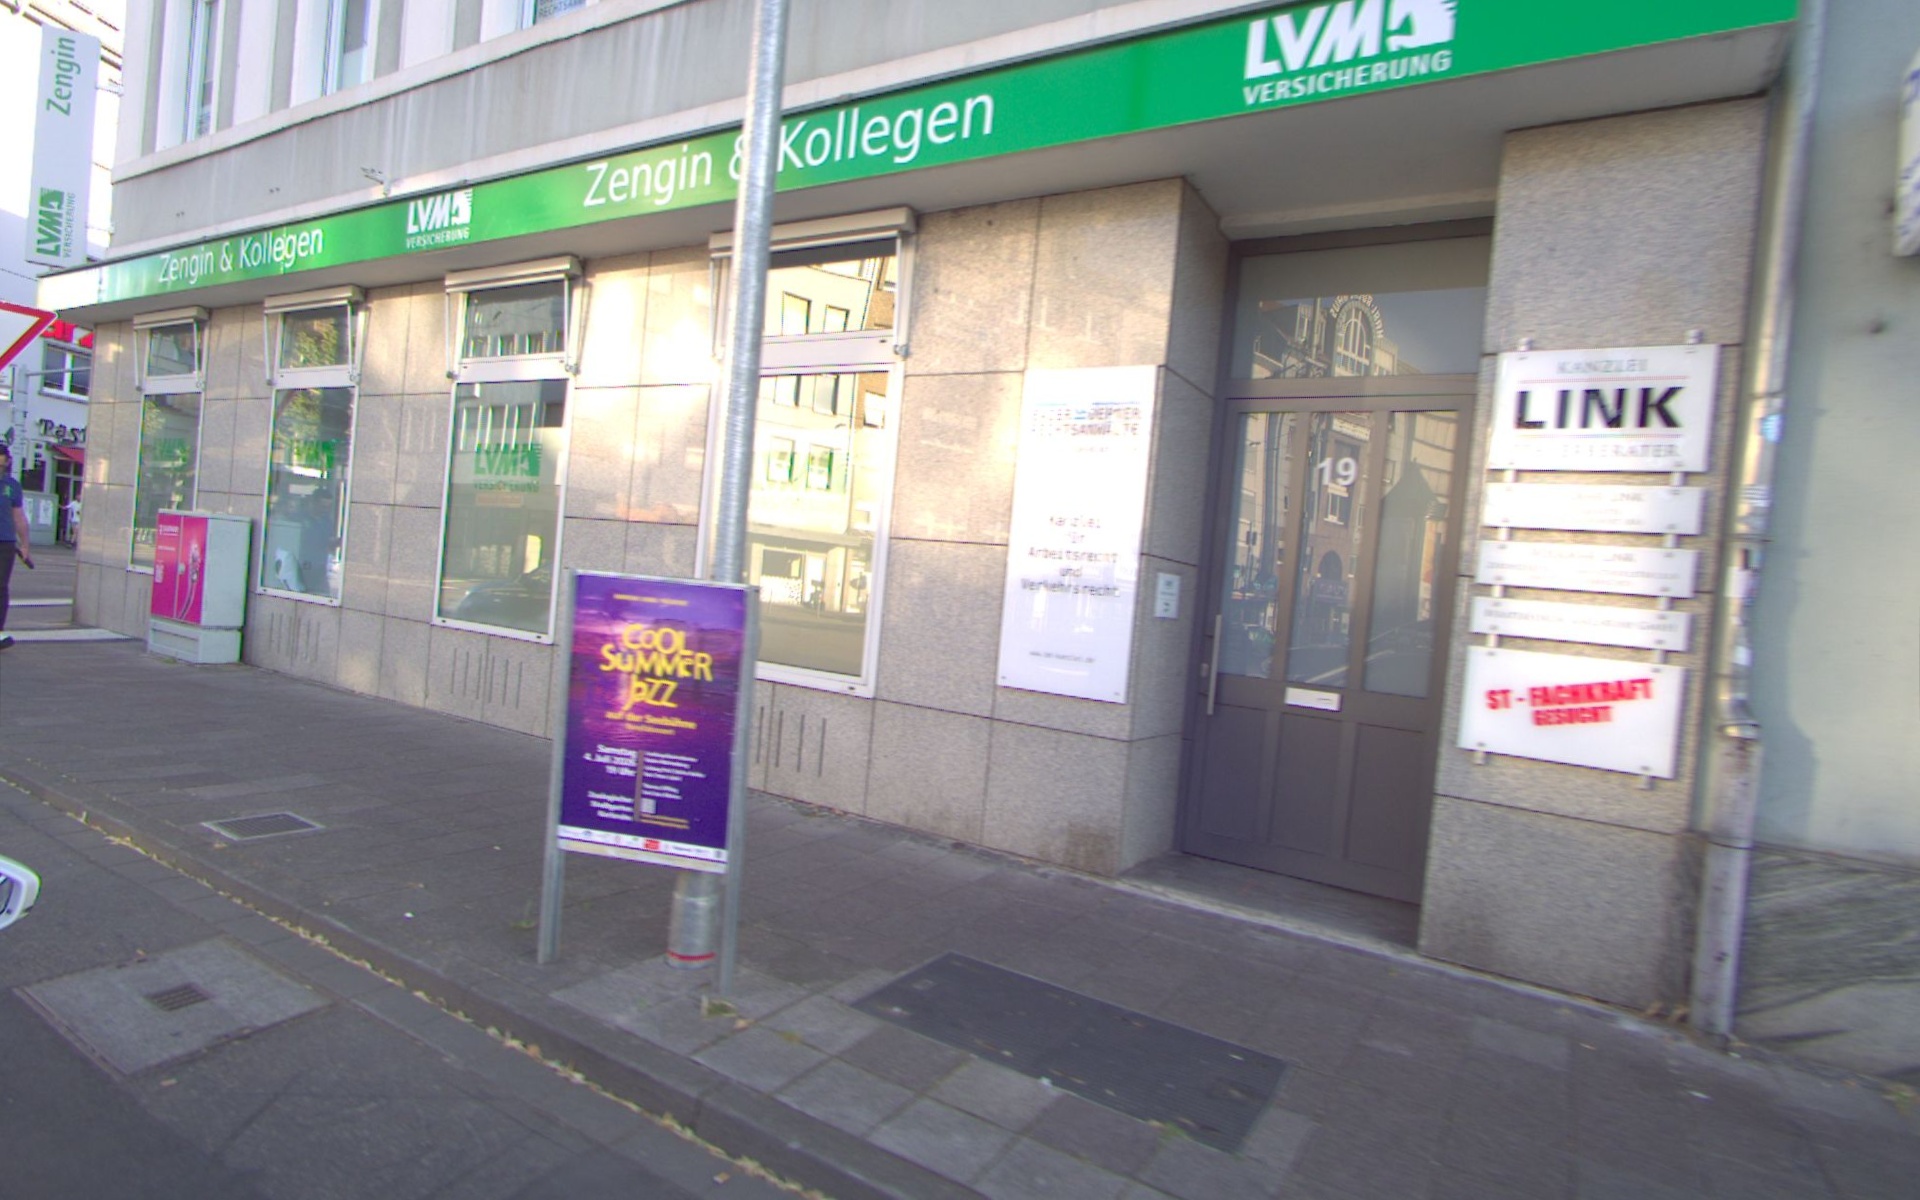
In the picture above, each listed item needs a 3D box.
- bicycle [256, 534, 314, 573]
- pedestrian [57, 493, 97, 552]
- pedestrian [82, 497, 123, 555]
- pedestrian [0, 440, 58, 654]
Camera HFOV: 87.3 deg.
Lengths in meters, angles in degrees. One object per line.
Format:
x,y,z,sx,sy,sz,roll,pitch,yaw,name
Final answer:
-25.998,-1.801,38.736,1.861,1.226,0.553,8,1,7,bicycle
-28.501,-2.500,32.467,0.627,1.801,0.600,6,1,-3,pedestrian
-27.737,-2.383,32.548,0.627,1.767,0.668,6,1,-6,pedestrian
-8.661,-0.490,8.983,0.867,1.852,0.690,6,2,37,pedestrian
